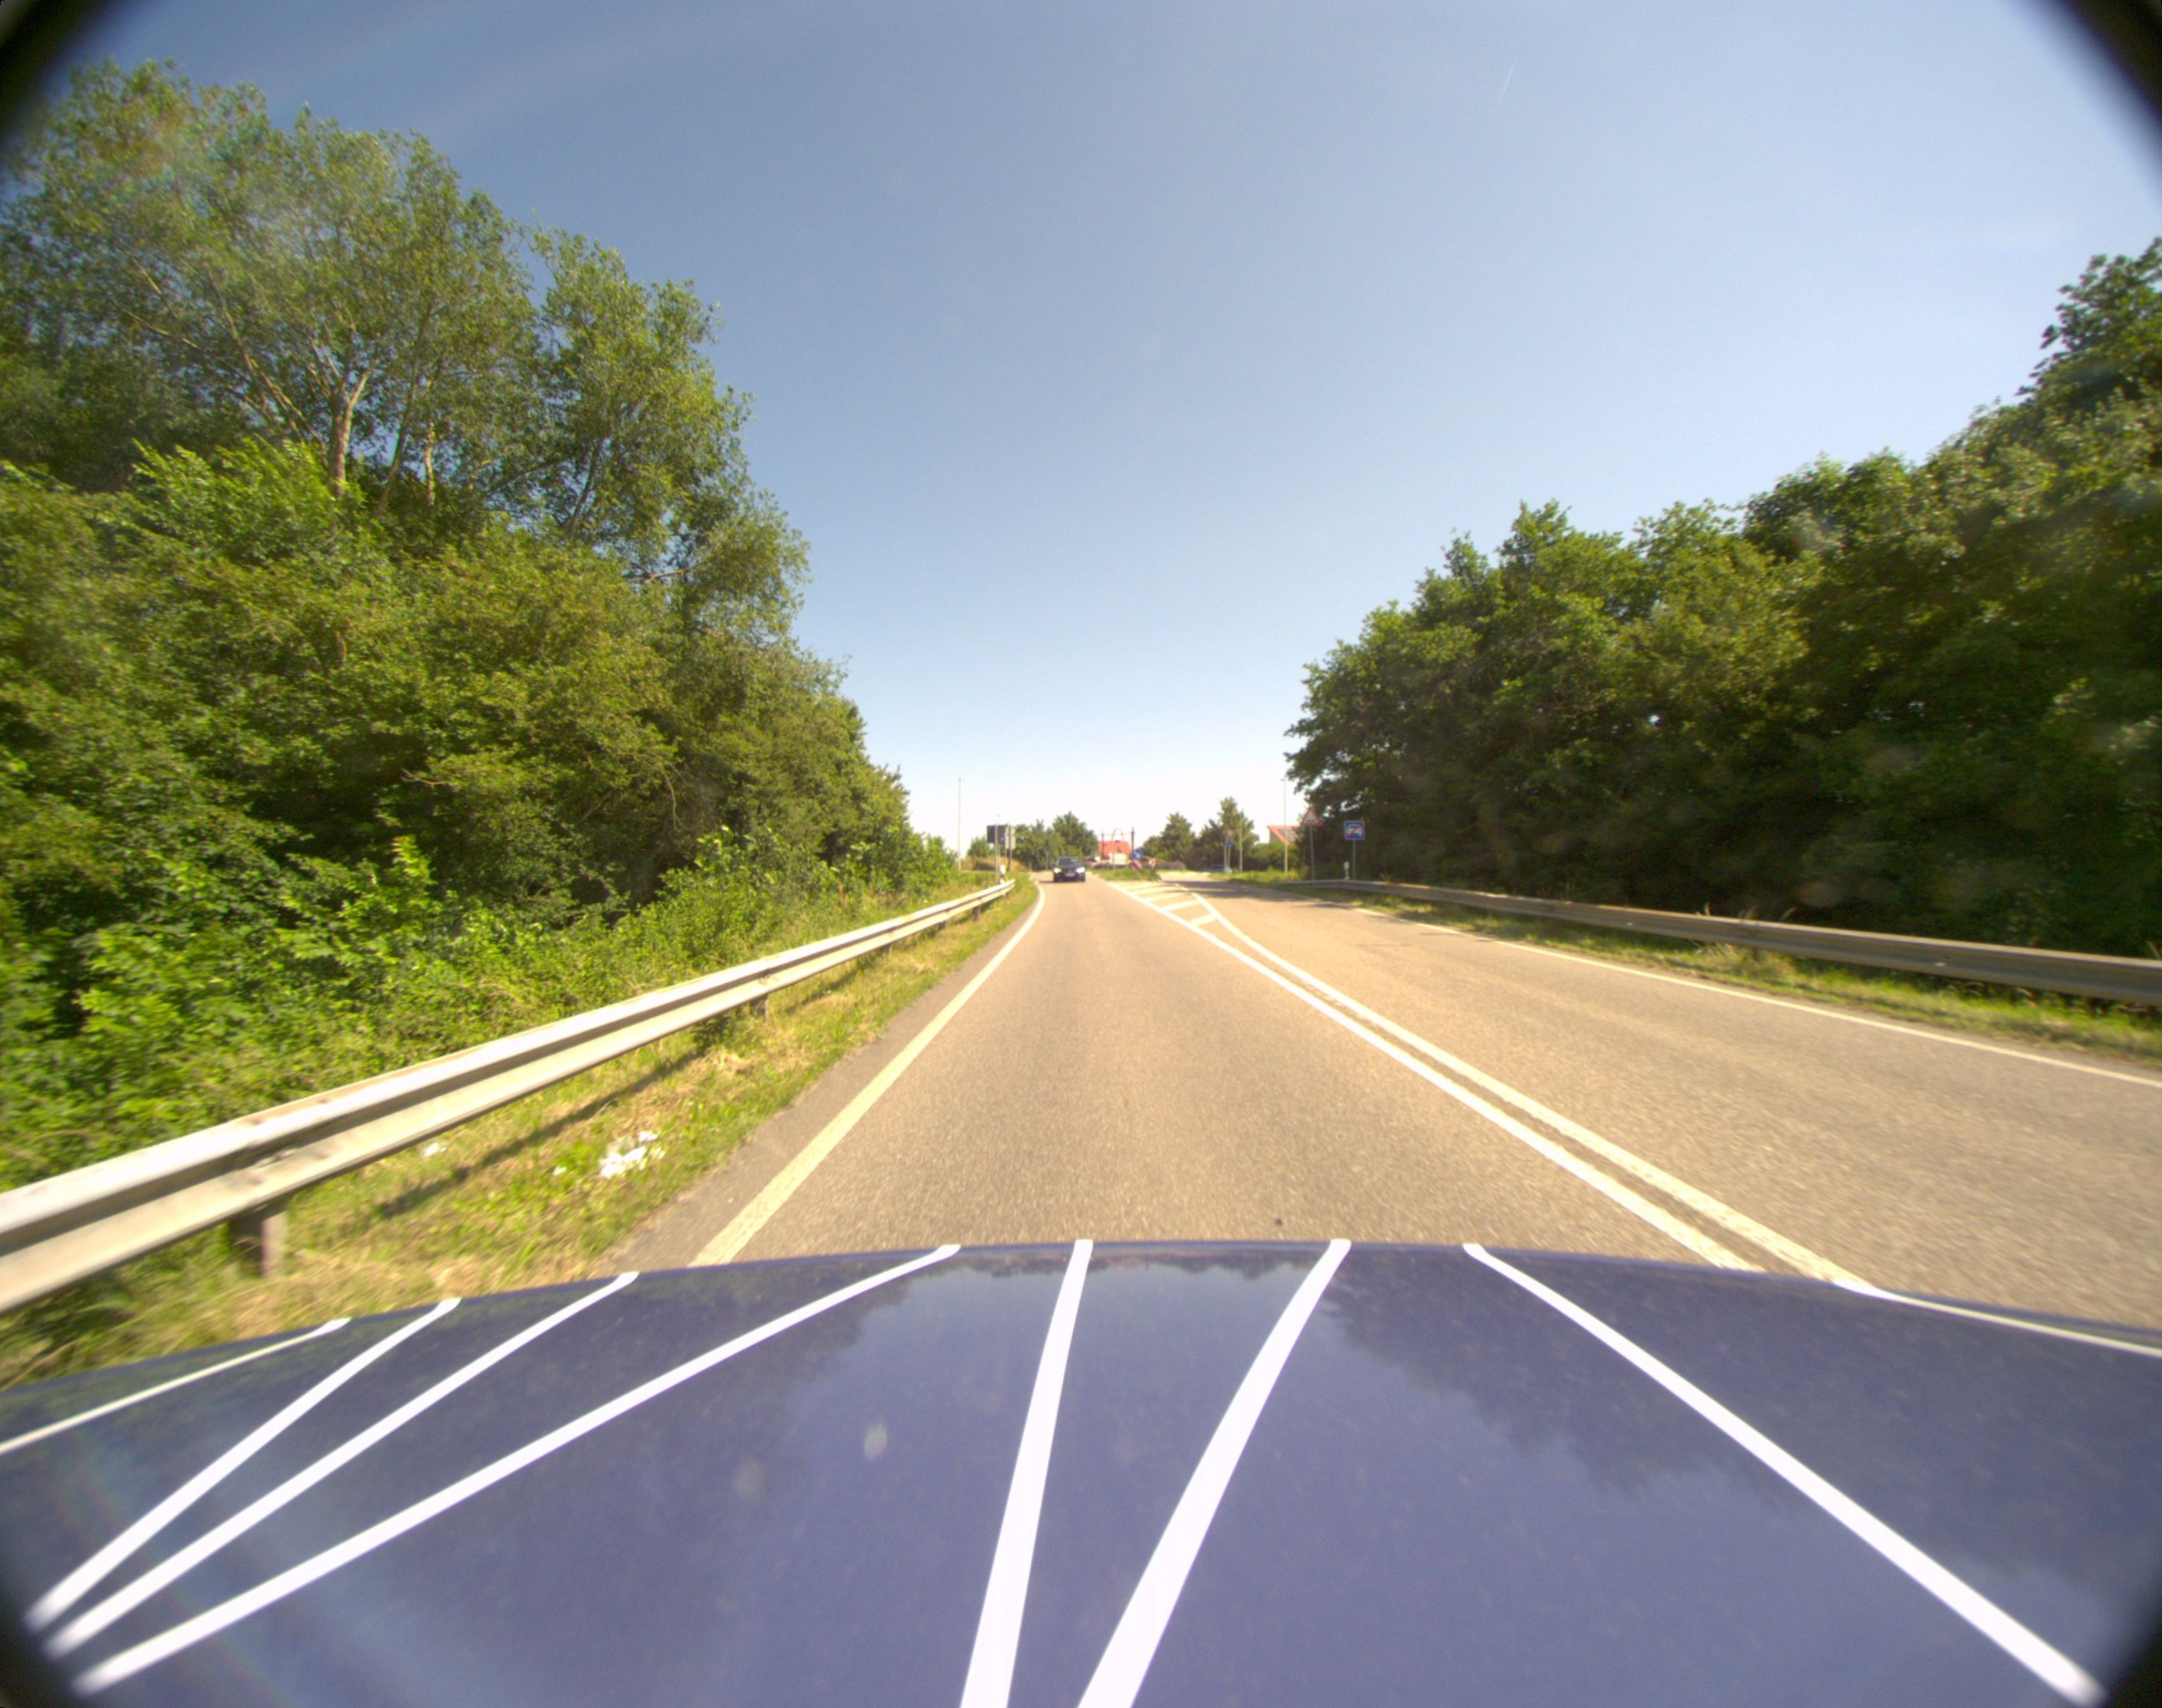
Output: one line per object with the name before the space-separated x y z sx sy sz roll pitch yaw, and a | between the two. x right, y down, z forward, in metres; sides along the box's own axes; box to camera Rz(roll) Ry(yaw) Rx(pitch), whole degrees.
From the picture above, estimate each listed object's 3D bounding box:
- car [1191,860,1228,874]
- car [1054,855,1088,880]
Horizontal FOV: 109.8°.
car | 14.976 1.506 88.809 3.988 1.566 1.653 -1 -2 40
car | -0.506 0.745 43.493 1.806 1.390 4.180 0 0 1
